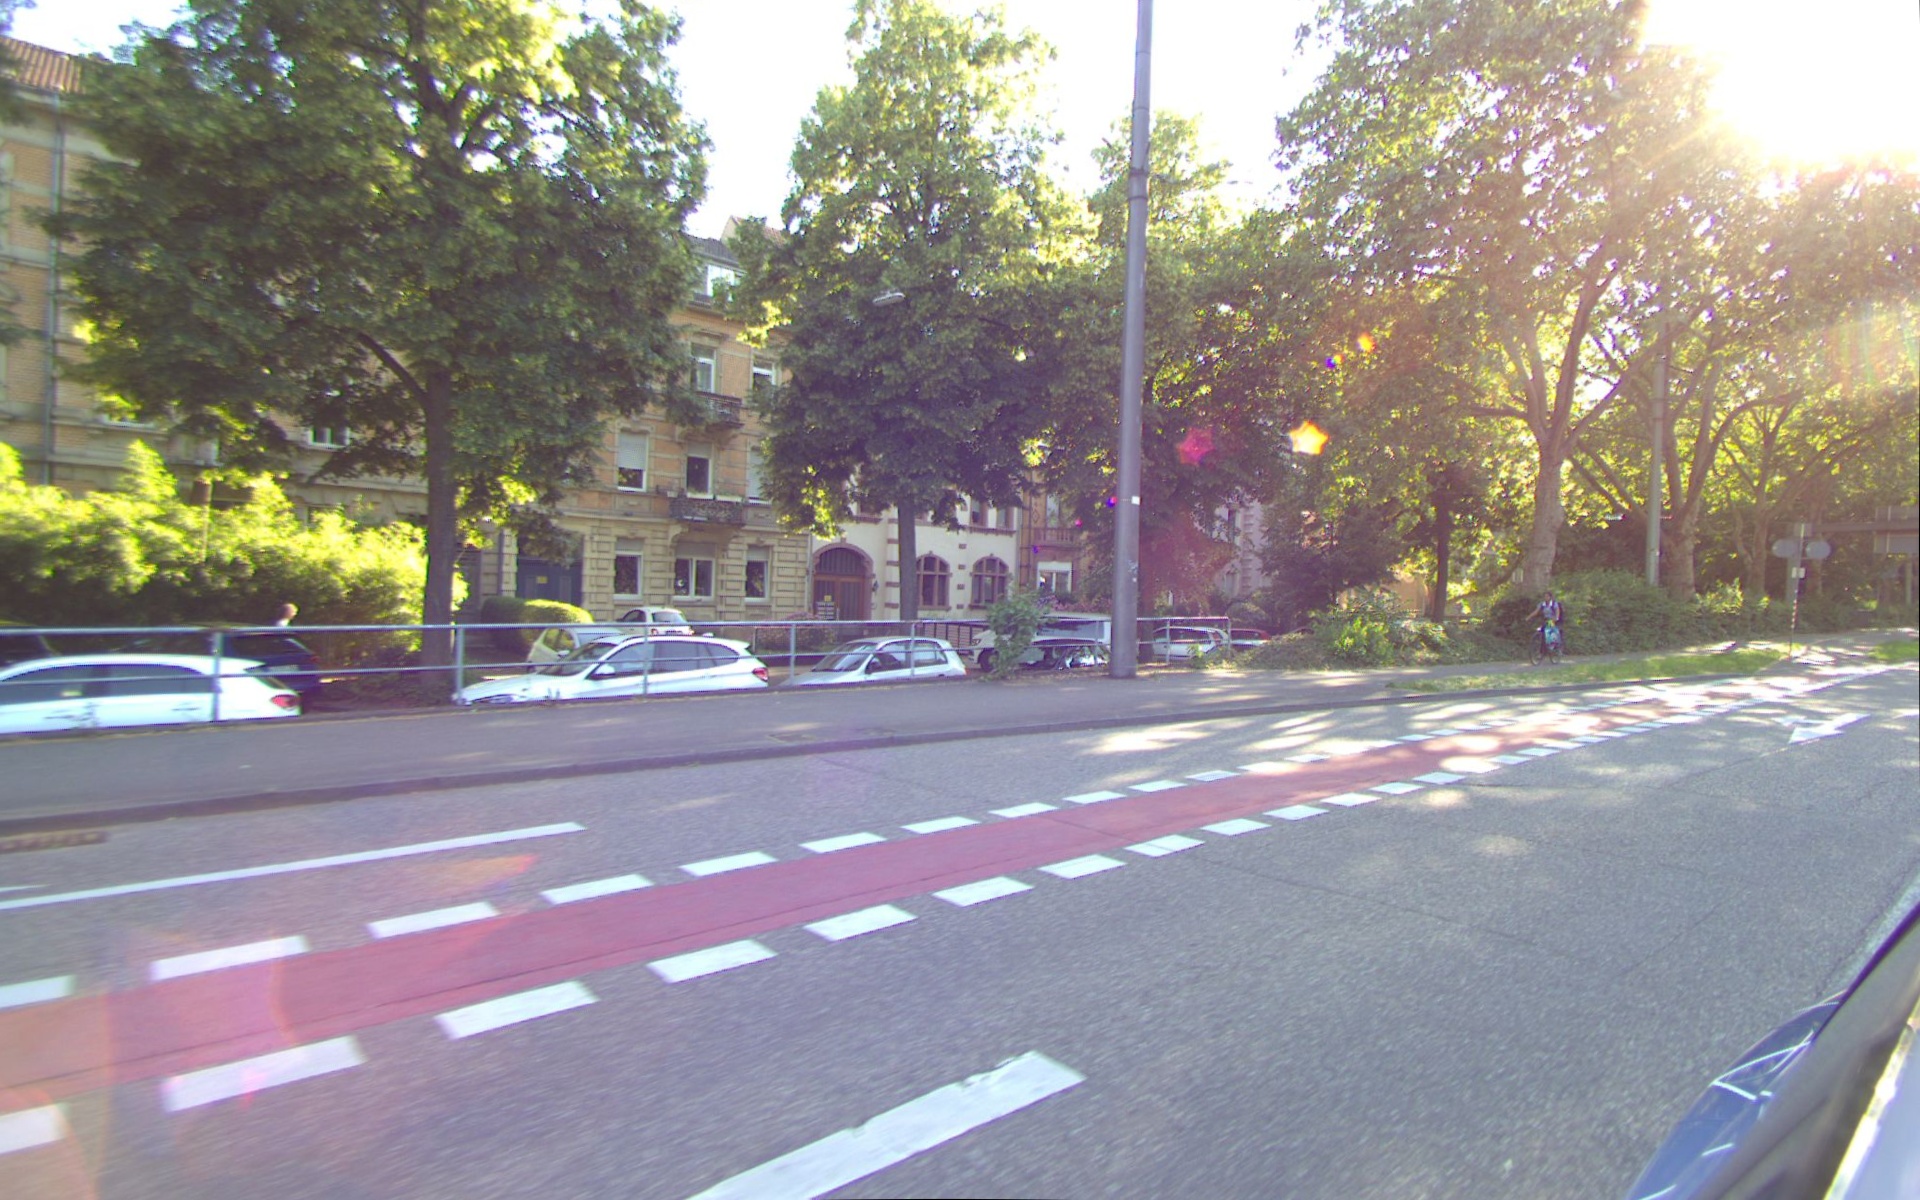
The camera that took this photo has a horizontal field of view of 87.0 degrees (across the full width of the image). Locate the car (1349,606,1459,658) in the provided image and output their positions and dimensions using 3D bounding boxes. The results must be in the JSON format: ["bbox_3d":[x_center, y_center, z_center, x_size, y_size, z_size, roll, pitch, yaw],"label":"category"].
[{"bbox_3d":[20.252,1.407,46.368,4.409,2.039,1.984,3,1,20],"label":"car"}]

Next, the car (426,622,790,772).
[{"bbox_3d":[-4.771,1.199,14.130,4.474,1.598,1.797,-1,1,-41],"label":"car"}]

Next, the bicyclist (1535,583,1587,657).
[{"bbox_3d":[12.906,0.412,21.732,0.639,1.532,0.767,1,1,-41],"label":"bicyclist"}]

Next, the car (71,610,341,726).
[{"bbox_3d":[-12.647,1.049,16.996,3.951,1.532,1.788,3,1,21],"label":"car"}]

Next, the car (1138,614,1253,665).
[{"bbox_3d":[8.679,1.423,37.172,3.948,1.529,1.790,3,1,18],"label":"car"}]

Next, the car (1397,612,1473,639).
[{"bbox_3d":[31.104,1.665,66.403,1.765,1.529,4.153,5,-2,-35],"label":"car"}]

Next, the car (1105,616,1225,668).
[{"bbox_3d":[7.068,1.395,34.755,3.871,1.470,1.680,3,1,16],"label":"car"}]

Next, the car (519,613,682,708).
[{"bbox_3d":[-7.513,1.165,20.927,1.769,1.532,3.994,1,2,-42],"label":"car"}]

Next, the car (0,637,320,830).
[{"bbox_3d":[-9.085,1.282,10.084,4.366,1.598,1.797,-1,1,-41],"label":"car"}]

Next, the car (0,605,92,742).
[{"bbox_3d":[-14.859,0.952,14.411,3.939,1.756,1.793,3,1,13],"label":"car"}]

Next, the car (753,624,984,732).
[{"bbox_3d":[-1.480,1.212,17.020,3.516,1.459,1.797,-1,1,-42],"label":"car"}]

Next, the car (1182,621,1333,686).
[{"bbox_3d":[7.366,1.252,24.904,3.932,1.325,1.797,-1,1,-42],"label":"car"}]

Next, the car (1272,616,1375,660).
[{"bbox_3d":[15.272,1.573,42.765,3.948,1.529,1.790,3,1,18],"label":"car"}]

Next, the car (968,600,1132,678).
[{"bbox_3d":[2.749,1.125,30.789,4.621,1.990,1.862,3,1,18],"label":"car"}]

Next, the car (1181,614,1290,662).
[{"bbox_3d":[10.711,1.442,39.375,3.948,1.529,1.790,3,1,18],"label":"car"}]

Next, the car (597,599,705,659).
[{"bbox_3d":[-9.470,0.826,30.920,1.770,1.540,3.570,0,2,-43],"label":"car"}]

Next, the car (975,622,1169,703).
[{"bbox_3d":[2.351,1.194,20.657,3.932,1.325,1.797,-1,1,-42],"label":"car"}]

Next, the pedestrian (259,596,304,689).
[{"bbox_3d":[-13.312,0.819,19.862,0.621,1.768,0.648,0,1,-45],"label":"pedestrian"}]

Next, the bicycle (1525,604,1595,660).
[{"bbox_3d":[12.918,0.662,21.761,1.768,1.121,0.767,0,1,-41],"label":"bicycle"}]
